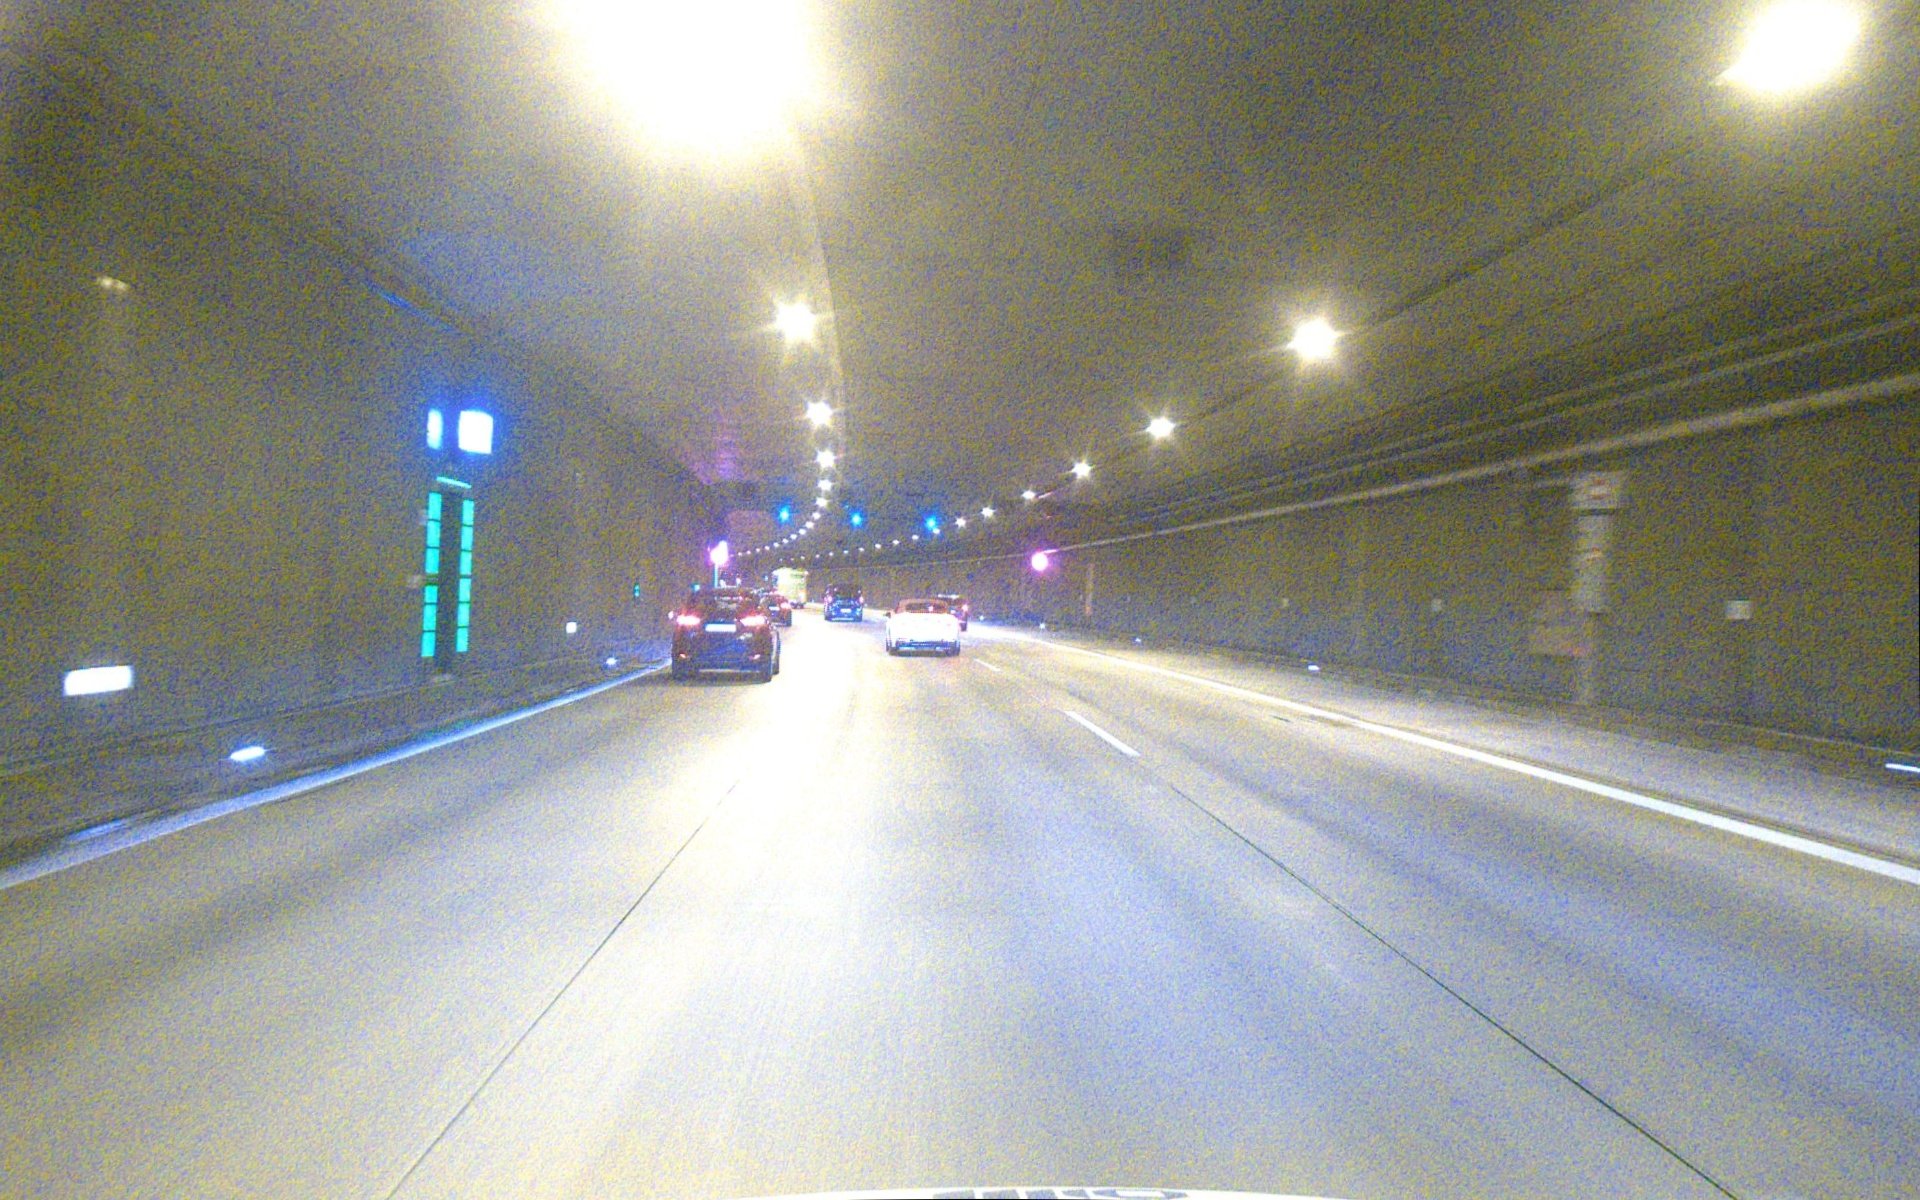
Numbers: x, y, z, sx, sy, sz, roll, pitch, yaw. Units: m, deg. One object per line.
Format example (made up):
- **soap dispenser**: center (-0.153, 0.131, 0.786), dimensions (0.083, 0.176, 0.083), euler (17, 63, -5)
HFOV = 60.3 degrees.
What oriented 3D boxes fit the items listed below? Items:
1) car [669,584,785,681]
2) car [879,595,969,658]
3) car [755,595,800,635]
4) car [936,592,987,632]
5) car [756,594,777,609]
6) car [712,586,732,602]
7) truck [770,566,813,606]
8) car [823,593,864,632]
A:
- **car**: center (-4.155, 0.546, 29.932), dimensions (1.750, 1.626, 3.798), euler (1, 0, -3)
- **car**: center (-0.977, 0.645, 42.607), dimensions (1.955, 1.509, 3.994), euler (1, 0, -7)
- **car**: center (-8.228, 0.646, 74.408), dimensions (1.768, 1.713, 3.990), euler (1, 0, -10)
- **car**: center (0.024, 0.513, 70.643), dimensions (1.804, 1.630, 3.996), euler (1, 0, -5)
- **car**: center (-23.567, 0.145, 201.389), dimensions (1.959, 1.785, 3.986), euler (2, -1, -13)
- **car**: center (-24.976, -0.635, 173.636), dimensions (1.957, 1.557, 3.991), euler (2, -1, -10)
- **truck**: center (-14.147, -1.196, 138.066), dimensions (3.025, 3.167, 10.010), euler (2, 1, -8)
- **car**: center (-6.167, 0.666, 87.257), dimensions (1.955, 2.006, 3.995), euler (1, 0, -6)
